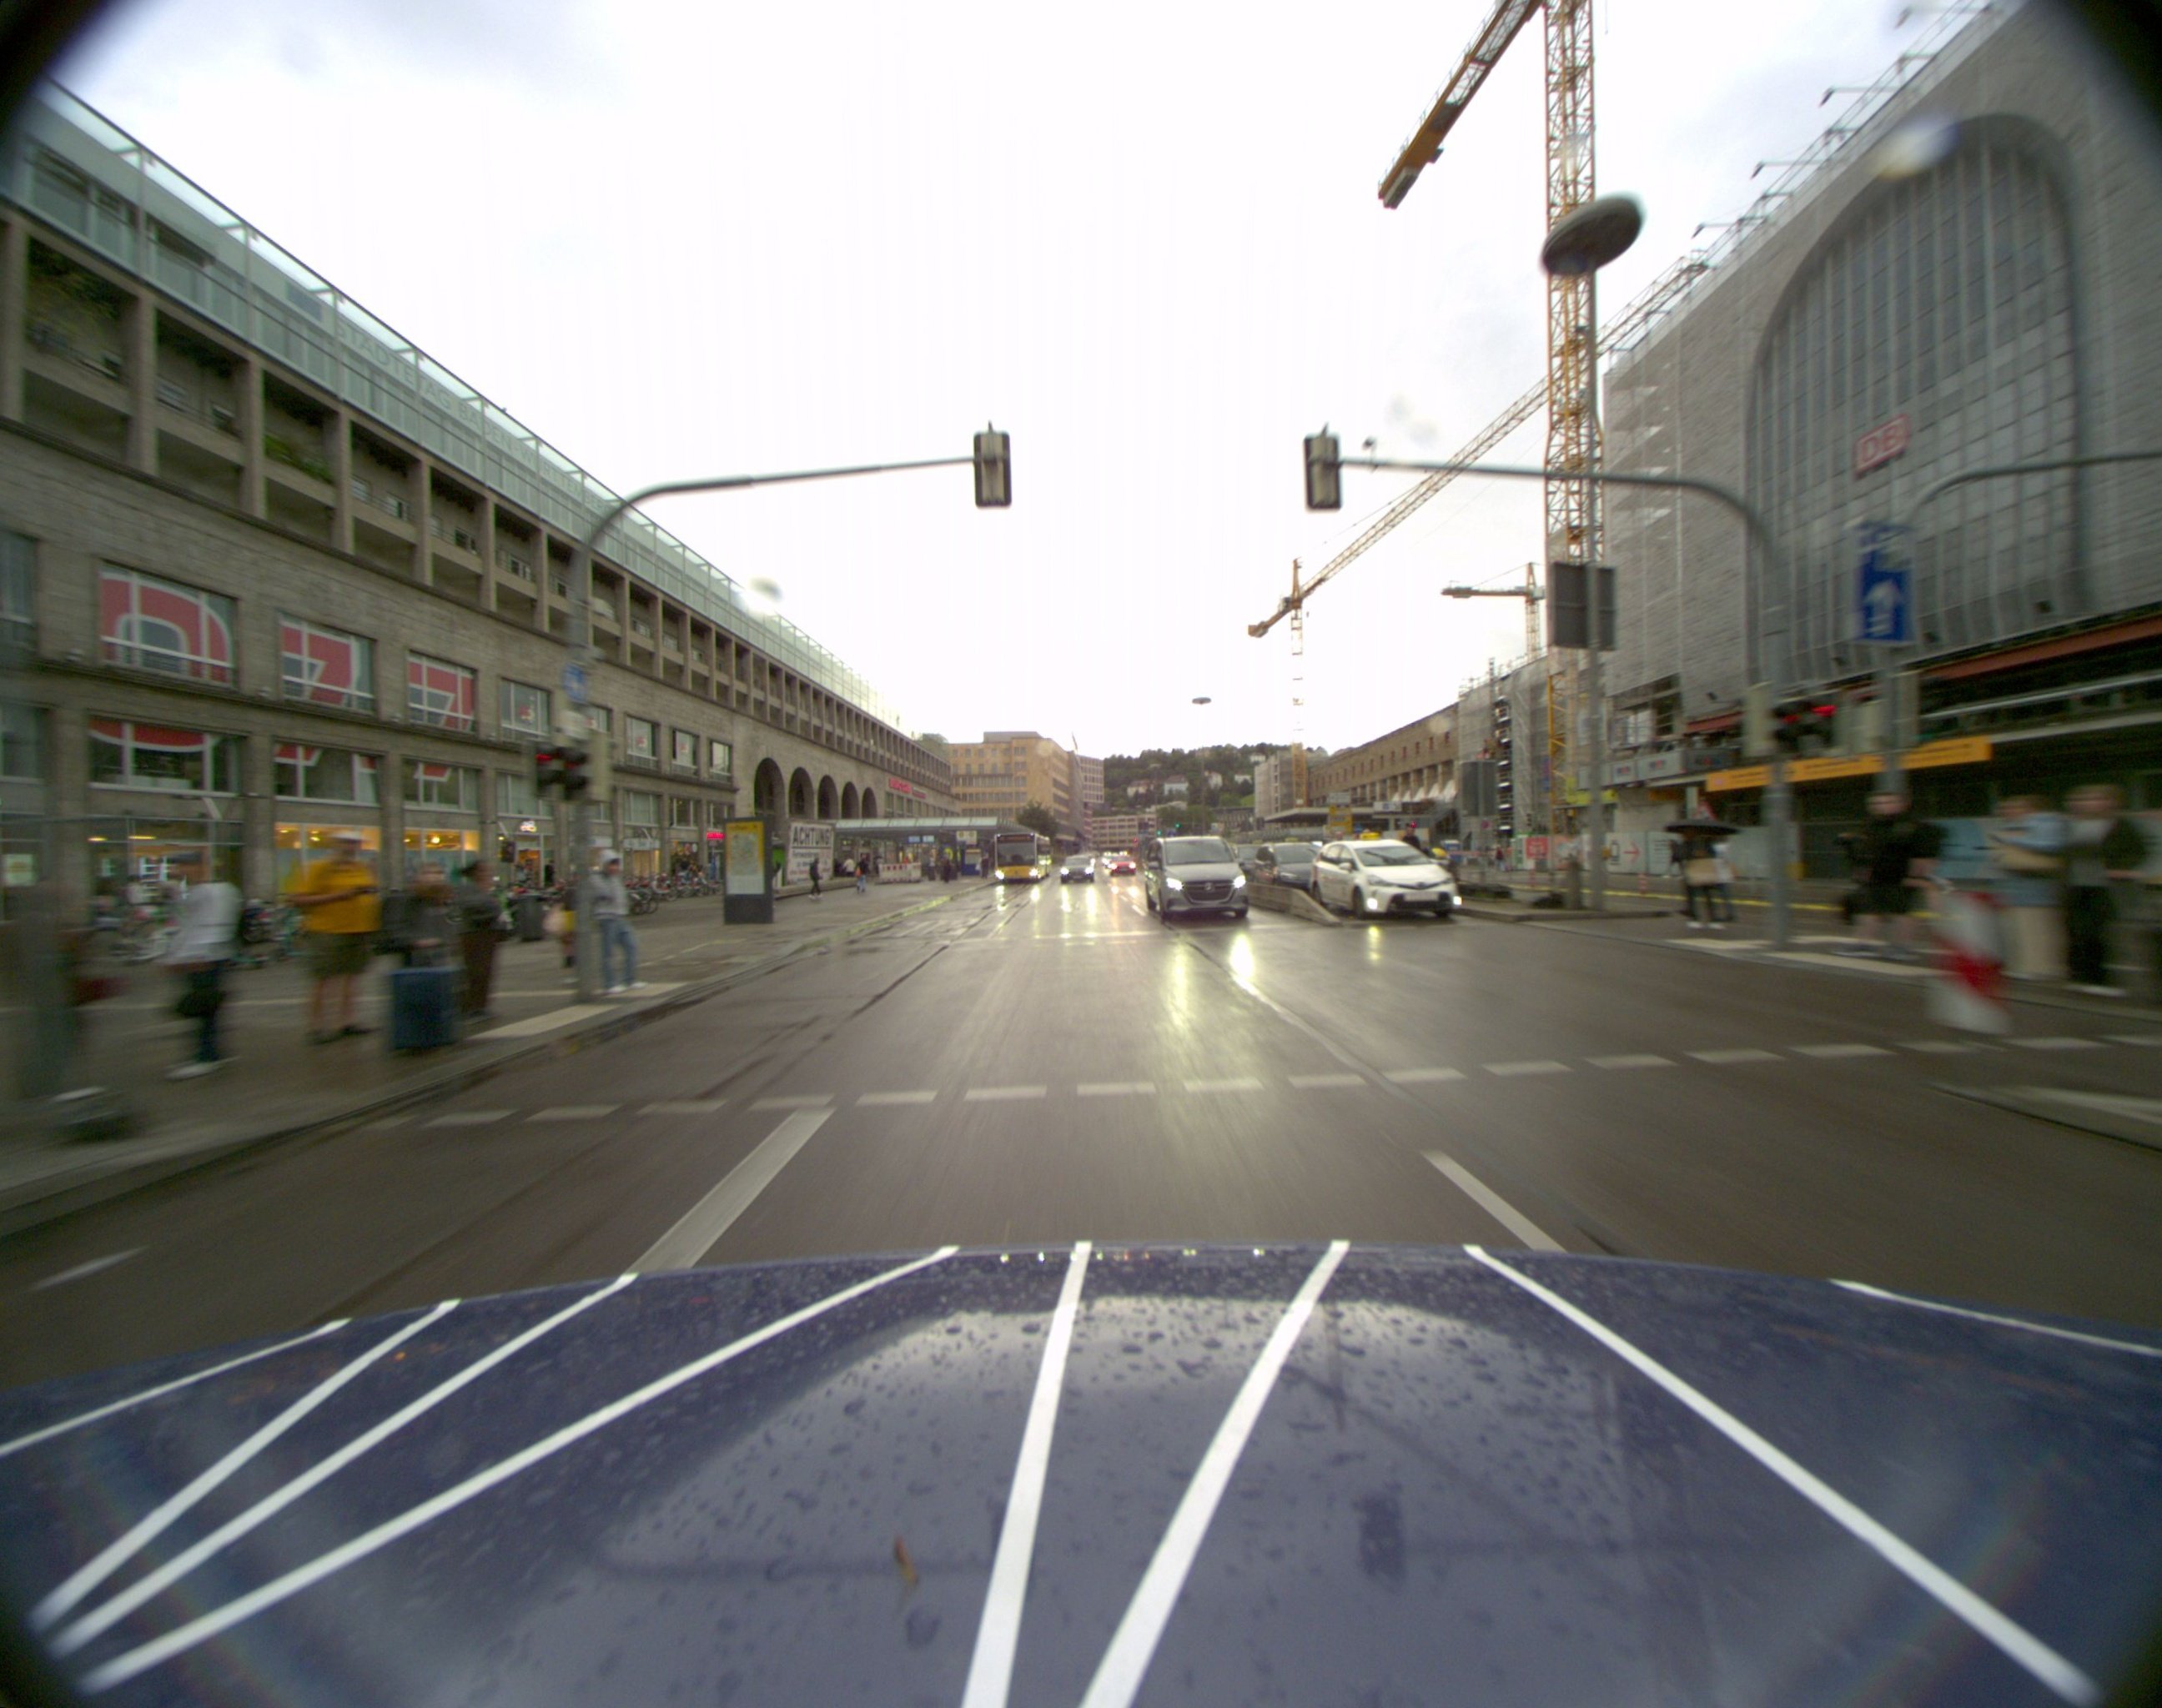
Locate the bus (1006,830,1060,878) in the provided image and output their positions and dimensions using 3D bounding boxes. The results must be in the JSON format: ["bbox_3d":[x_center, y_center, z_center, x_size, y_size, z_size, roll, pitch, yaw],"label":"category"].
[{"bbox_3d":[-3.470,-0.061,57.514,3.149,3.229,9.134,-2,1,2],"label":"bus"}]

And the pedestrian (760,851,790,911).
[{"bbox_3d":[-10.121,0.883,25.165,0.708,1.921,0.788,-1,1,-9],"label":"pedestrian"}]

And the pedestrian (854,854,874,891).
[{"bbox_3d":[-9.619,0.799,33.694,0.652,1.609,0.502,-1,1,16],"label":"pedestrian"}]

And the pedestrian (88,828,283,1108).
[{"bbox_3d":[-7.264,0.867,6.196,0.709,2.133,0.722,-1,1,13],"label":"pedestrian"}]

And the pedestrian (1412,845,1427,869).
[{"bbox_3d":[26.720,0.255,59.912,0.804,1.830,0.851,-2,1,5],"label":"pedestrian"}]

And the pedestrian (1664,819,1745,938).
[{"bbox_3d":[9.331,0.352,11.397,0.584,1.725,0.756,-1,1,1],"label":"pedestrian"}]

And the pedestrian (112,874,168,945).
[{"bbox_3d":[-21.956,1.281,17.735,0.645,1.593,0.617,1,2,23],"label":"pedestrian"}]

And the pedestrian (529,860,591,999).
[{"bbox_3d":[-7.088,0.986,10.362,0.541,1.794,0.756,-2,1,-27],"label":"pedestrian"}]

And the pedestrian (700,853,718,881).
[{"bbox_3d":[-24.395,0.862,49.898,0.733,1.782,0.789,-1,1,1],"label":"pedestrian"}]

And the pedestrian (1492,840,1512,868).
[{"bbox_3d":[25.103,-0.007,45.322,0.678,1.604,0.839,-2,1,4],"label":"pedestrian"}]

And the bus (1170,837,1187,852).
[{"bbox_3d":[23.835,-2.269,186.572,2.916,3.557,19.081,0,1,4],"label":"bus"}]

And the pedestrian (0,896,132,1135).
[{"bbox_3d":[-7.481,1.105,5.399,0.657,1.546,0.635,-2,1,14],"label":"pedestrian"}]

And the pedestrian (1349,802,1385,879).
[{"bbox_3d":[7.611,-0.349,20.246,0.623,2.002,0.836,-2,1,0],"label":"pedestrian"}]

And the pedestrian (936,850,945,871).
[{"bbox_3d":[-13.130,0.612,71.044,0.596,1.863,0.592,-1,1,35],"label":"pedestrian"}]

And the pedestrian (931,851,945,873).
[{"bbox_3d":[-11.575,0.629,61.469,0.790,1.794,0.990,-2,1,-27],"label":"pedestrian"}]

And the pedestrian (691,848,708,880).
[{"bbox_3d":[-23.136,0.604,46.099,0.790,1.918,0.653,-2,1,-23],"label":"pedestrian"}]

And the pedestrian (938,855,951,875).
[{"bbox_3d":[-11.628,0.907,64.716,0.750,1.685,0.902,-2,1,5],"label":"pedestrian"}]

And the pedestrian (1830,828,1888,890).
[{"bbox_3d":[23.789,0.144,23.250,0.820,1.830,0.937,-1,1,1],"label":"pedestrian"}]

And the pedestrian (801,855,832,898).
[{"bbox_3d":[-10.255,0.881,29.463,0.787,1.632,0.790,-1,1,16],"label":"pedestrian"}]

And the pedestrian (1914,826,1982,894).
[{"bbox_3d":[23.806,0.158,20.882,0.728,1.830,0.993,-1,1,1],"label":"pedestrian"}]

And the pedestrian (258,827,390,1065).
[{"bbox_3d":[-7.138,0.823,7.197,0.556,2.133,0.667,-1,1,-14],"label":"pedestrian"}]

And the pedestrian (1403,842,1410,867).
[{"bbox_3d":[23.501,0.045,54.823,0.339,1.830,0.510,-2,1,17],"label":"pedestrian"}]

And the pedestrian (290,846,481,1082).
[{"bbox_3d":[-5.863,0.857,6.482,0.789,1.828,0.949,-1,1,-14],"label":"pedestrian"}]

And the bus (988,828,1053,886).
[{"bbox_3d":[-3.673,0.114,48.316,3.121,3.186,9.240,-2,1,1],"label":"bus"}]

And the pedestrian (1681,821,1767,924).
[{"bbox_3d":[10.727,0.299,12.705,0.715,1.655,0.836,-1,1,1],"label":"pedestrian"}]

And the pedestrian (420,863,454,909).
[{"bbox_3d":[-24.491,1.212,28.903,0.598,1.679,0.708,-1,1,1],"label":"pedestrian"}]

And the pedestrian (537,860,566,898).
[{"bbox_3d":[-24.767,1.152,35.533,0.723,1.687,0.776,-2,1,0],"label":"pedestrian"}]

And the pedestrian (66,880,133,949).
[{"bbox_3d":[-22.781,1.376,17.638,0.670,1.515,0.783,0,1,24],"label":"pedestrian"}]

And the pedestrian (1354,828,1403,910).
[{"bbox_3d":[7.549,0.373,19.277,0.834,2.002,1.030,-1,1,39],"label":"pedestrian"}]

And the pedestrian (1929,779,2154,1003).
[{"bbox_3d":[8.699,0.316,6.947,1.004,1.875,0.818,-1,1,23],"label":"pedestrian"}]

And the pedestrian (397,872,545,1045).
[{"bbox_3d":[-6.309,1.045,7.906,0.877,1.681,0.758,-1,1,1],"label":"pedestrian"}]

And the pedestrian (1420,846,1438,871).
[{"bbox_3d":[26.057,0.298,56.929,0.841,1.830,1.058,-2,1,5],"label":"pedestrian"}]

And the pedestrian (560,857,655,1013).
[{"bbox_3d":[-5.752,0.945,9.277,0.748,1.794,0.709,-1,1,-14],"label":"pedestrian"}]

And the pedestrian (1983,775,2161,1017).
[{"bbox_3d":[8.368,0.324,6.258,1.004,1.875,0.684,-1,1,23],"label":"pedestrian"}]

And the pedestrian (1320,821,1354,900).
[{"bbox_3d":[6.705,0.166,19.942,0.529,2.002,0.890,-2,1,-1],"label":"pedestrian"}]

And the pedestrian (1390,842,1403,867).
[{"bbox_3d":[23.105,0.043,55.584,0.702,1.830,0.879,-1,1,30],"label":"pedestrian"}]

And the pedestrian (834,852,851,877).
[{"bbox_3d":[-16.847,0.727,53.676,0.994,1.782,0.787,-2,1,-27],"label":"pedestrian"}]

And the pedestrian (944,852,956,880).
[{"bbox_3d":[-7.644,0.704,44.292,0.595,1.609,0.511,-3,1,-9],"label":"pedestrian"}]

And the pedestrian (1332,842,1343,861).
[{"bbox_3d":[26.697,-0.298,79.128,0.744,1.928,0.864,-4,1,-2],"label":"pedestrian"}]

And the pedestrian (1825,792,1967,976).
[{"bbox_3d":[8.745,0.303,8.174,0.832,1.875,0.691,-1,1,-9],"label":"pedestrian"}]

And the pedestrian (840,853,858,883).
[{"bbox_3d":[-14.028,0.836,45.933,0.733,1.782,0.757,-1,1,16],"label":"pedestrian"}]

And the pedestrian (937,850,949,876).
[{"bbox_3d":[-10.067,0.660,55.455,0.795,1.918,0.705,-1,1,-9],"label":"pedestrian"}]

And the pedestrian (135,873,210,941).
[{"bbox_3d":[-23.714,1.366,19.845,0.794,1.665,0.889,-2,1,9],"label":"pedestrian"}]
